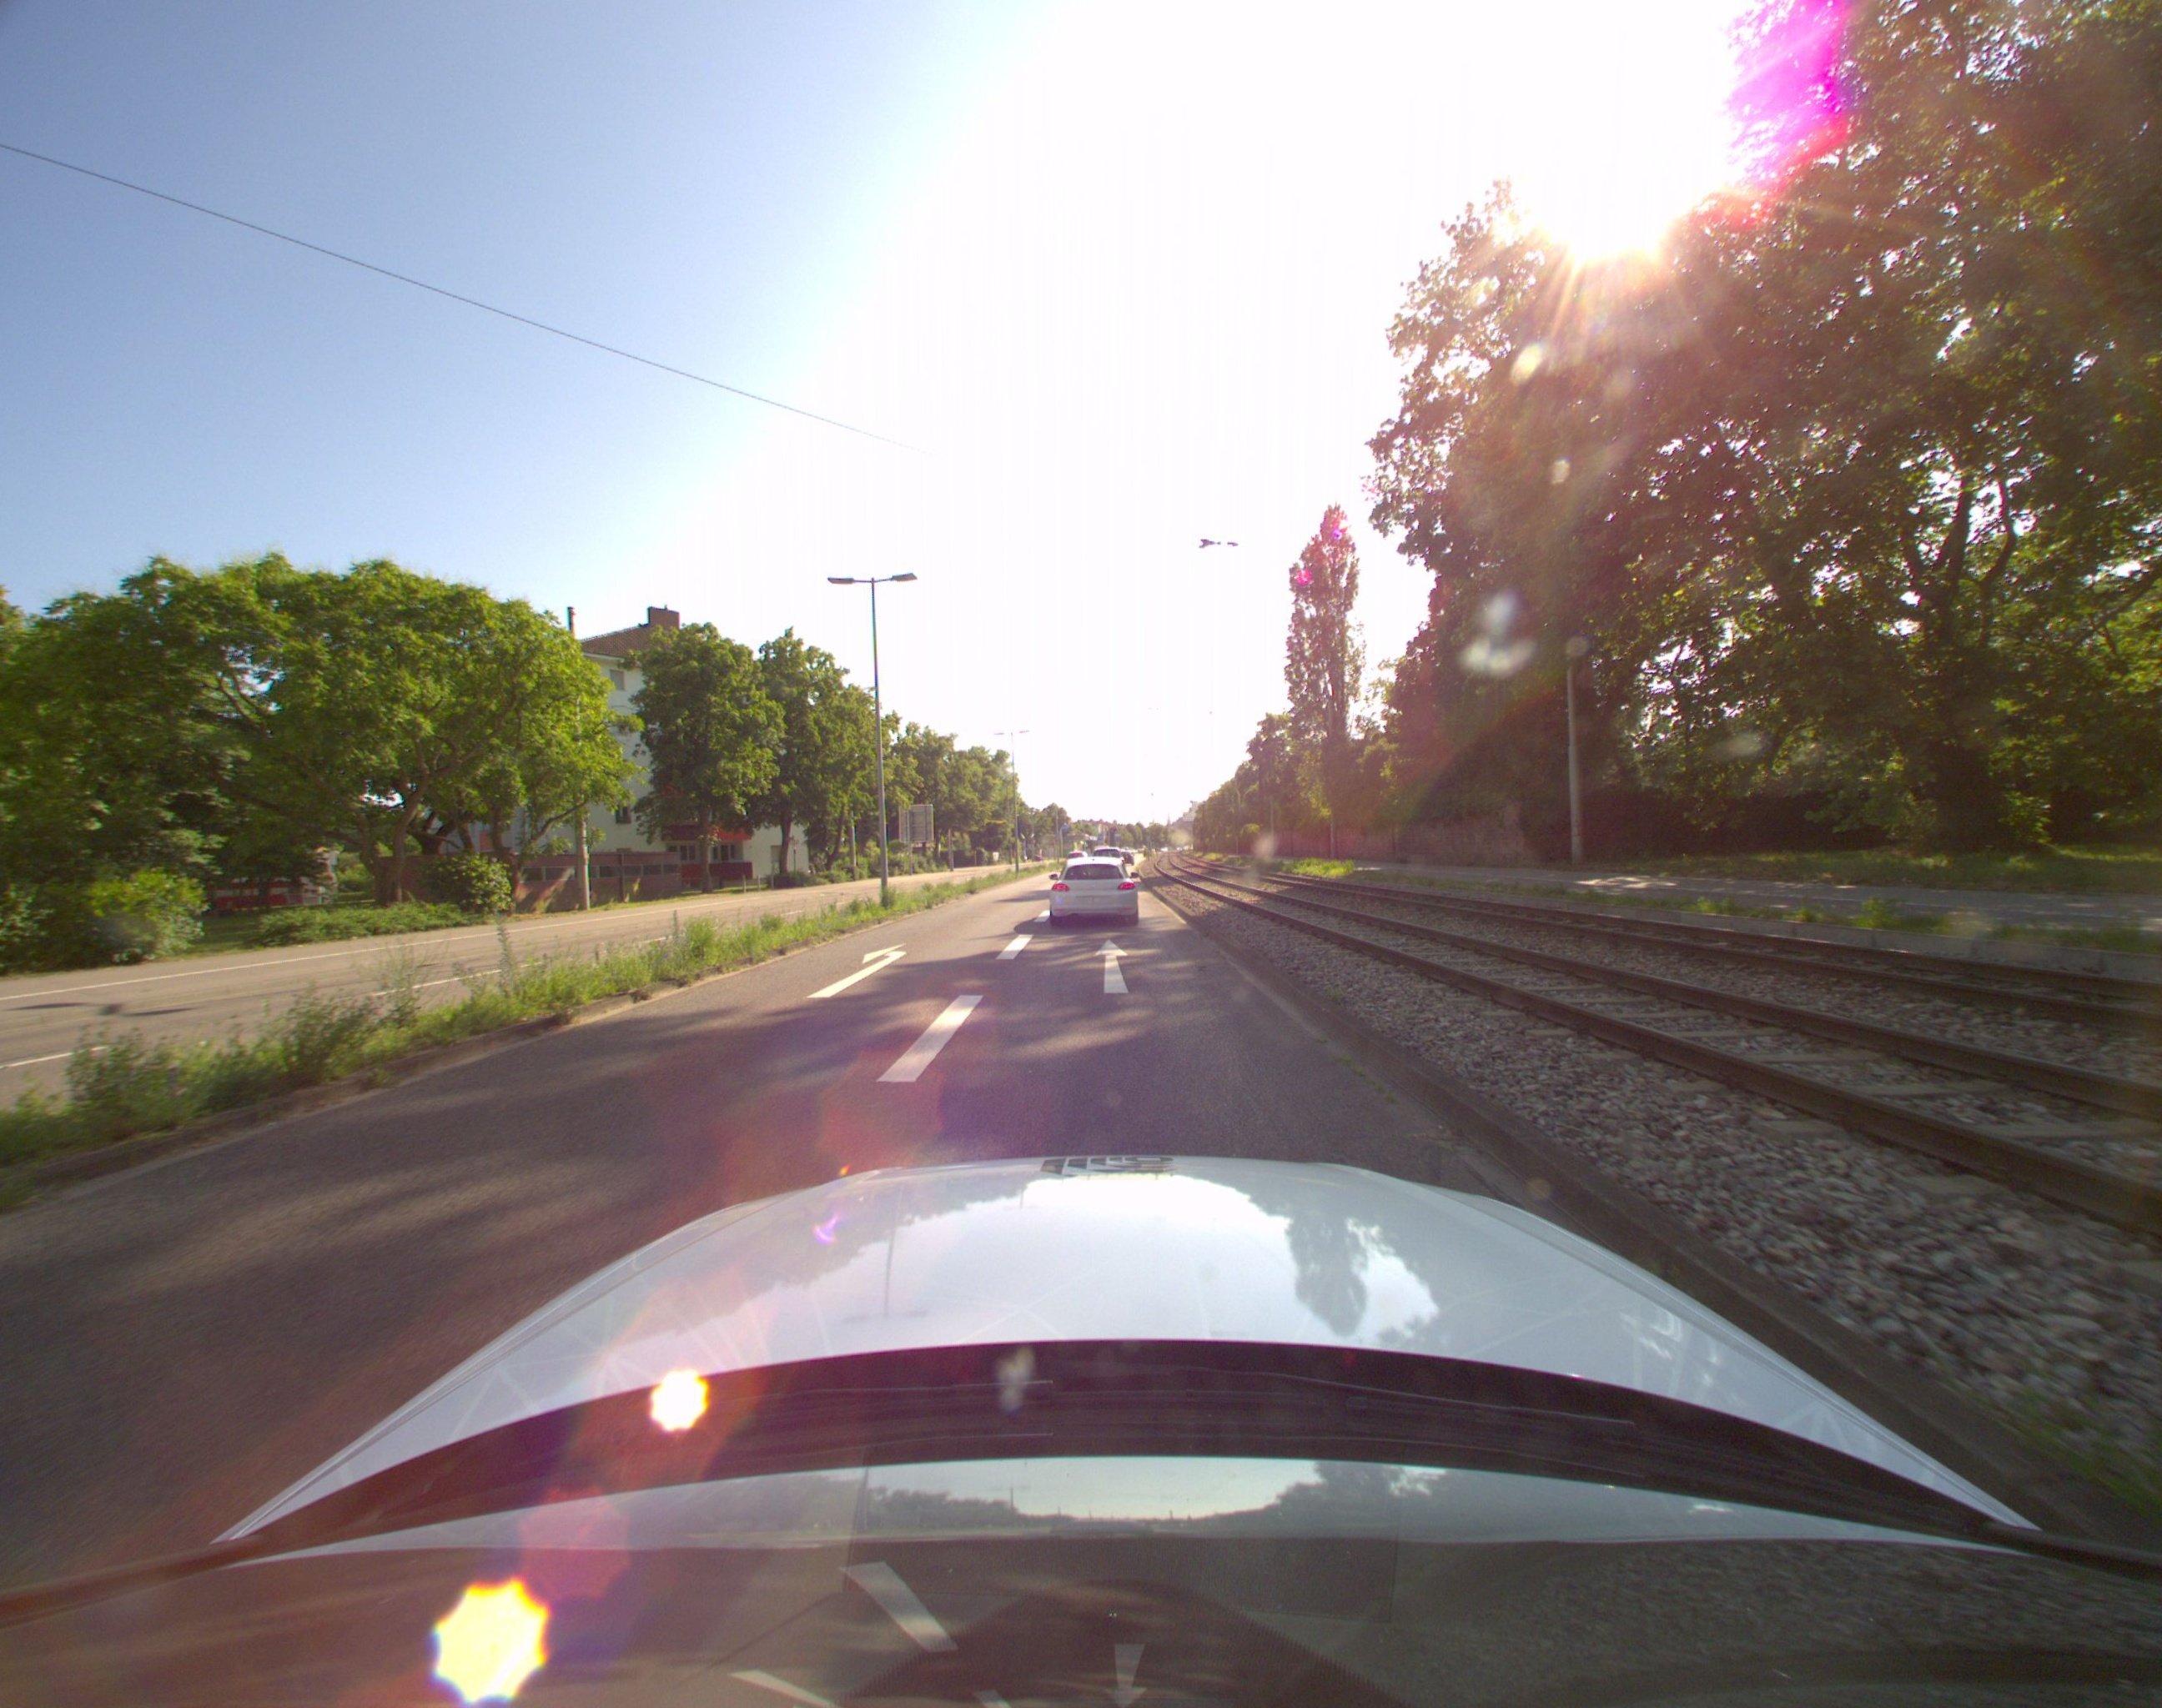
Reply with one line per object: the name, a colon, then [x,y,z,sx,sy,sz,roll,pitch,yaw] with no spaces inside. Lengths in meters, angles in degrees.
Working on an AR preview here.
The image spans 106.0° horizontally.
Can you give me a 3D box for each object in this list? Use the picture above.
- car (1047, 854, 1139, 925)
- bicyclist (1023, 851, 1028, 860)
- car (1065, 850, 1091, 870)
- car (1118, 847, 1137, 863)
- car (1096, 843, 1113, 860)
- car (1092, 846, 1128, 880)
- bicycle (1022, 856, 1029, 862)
car: [0.310,0.689,17.665,1.774,1.356,3.603,-1,0,2]
bicyclist: [-9.372,0.227,137.218,0.658,1.452,1.054,-2,0,9]
car: [-0.217,0.429,63.087,1.753,1.485,4.648,-1,0,2]
car: [4.410,0.068,77.359,1.742,1.485,3.603,-1,0,2]
car: [2.856,-0.311,98.026,1.809,1.963,4.408,-2,0,5]
car: [1.465,0.436,40.517,1.717,1.593,3.603,-1,0,2]
bicycle: [-9.362,0.836,137.143,0.658,1.049,2.587,-2,0,9]
